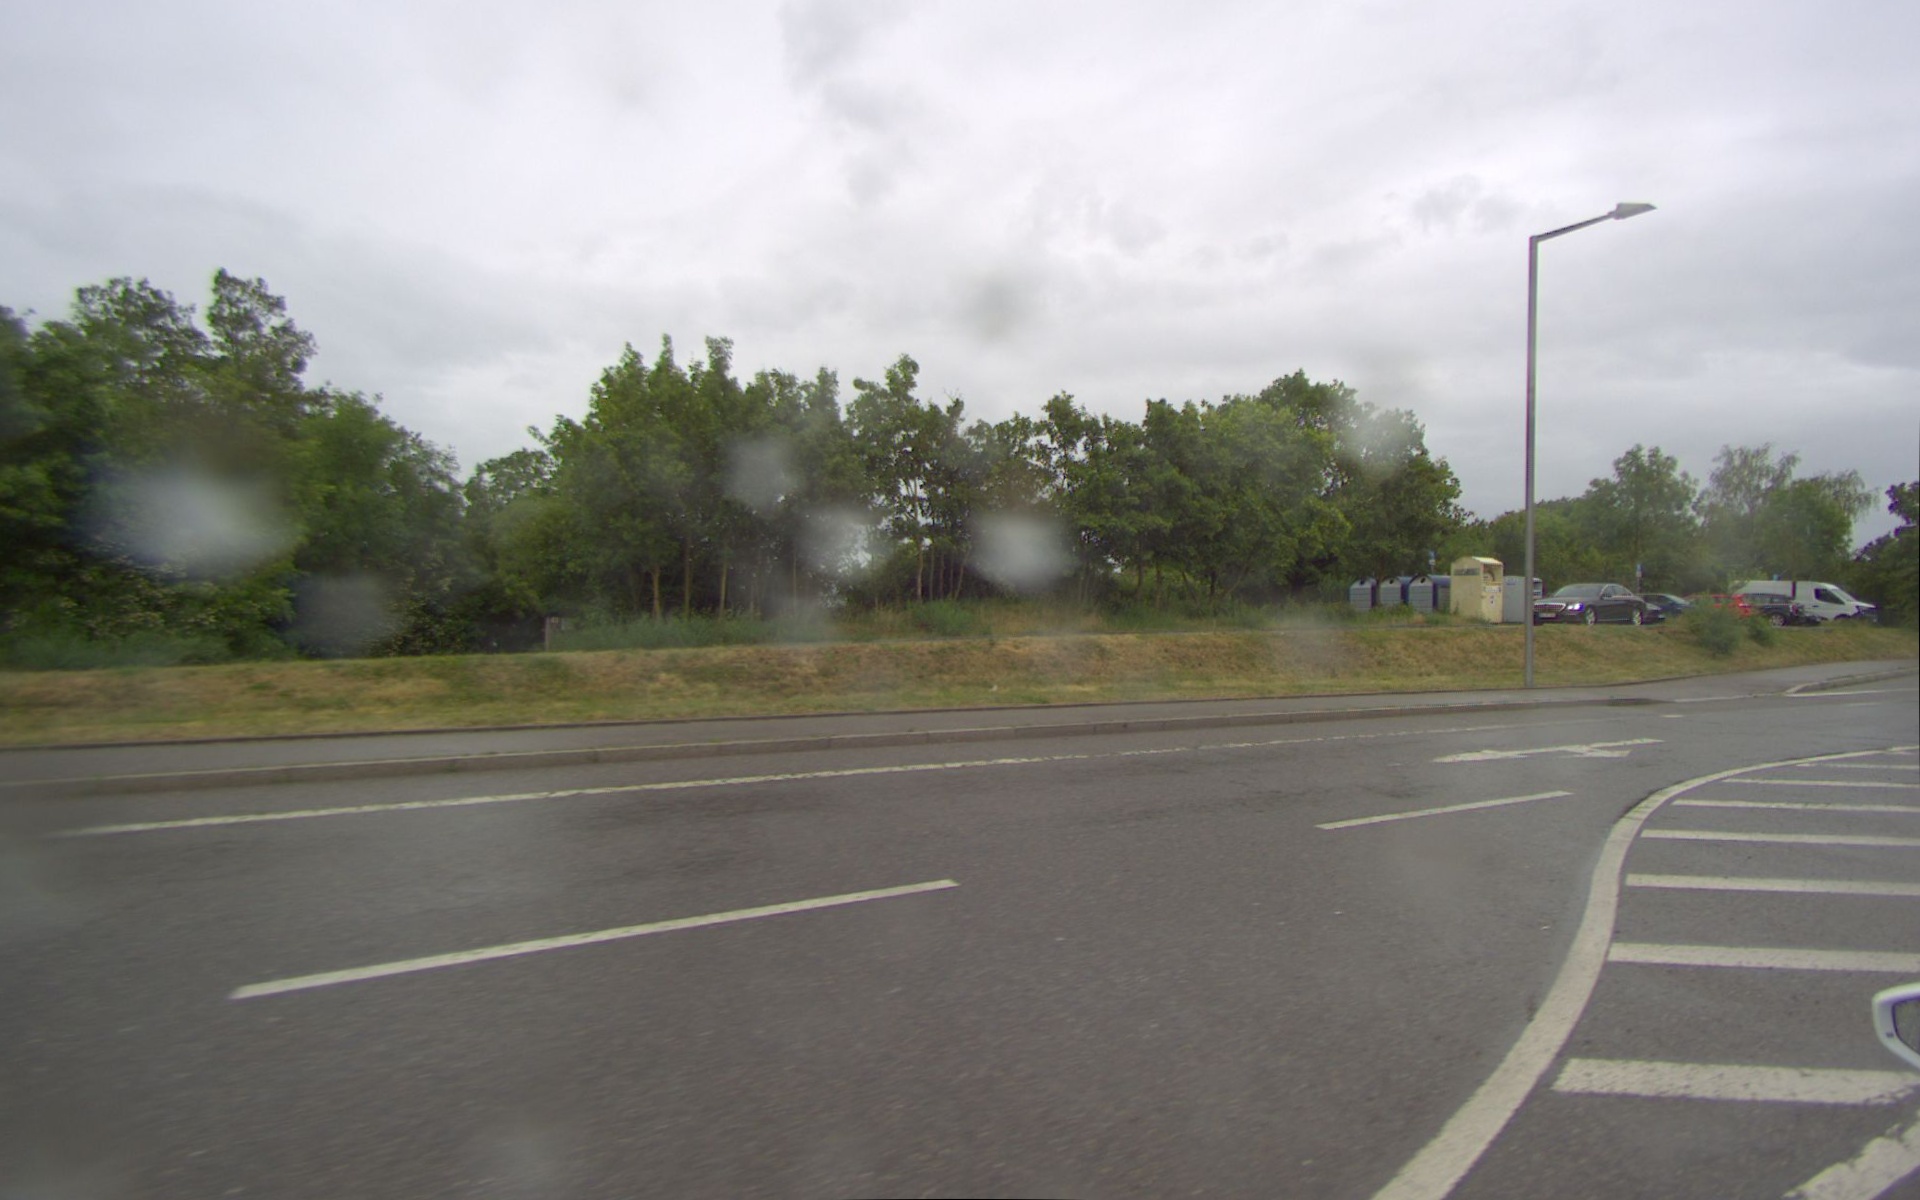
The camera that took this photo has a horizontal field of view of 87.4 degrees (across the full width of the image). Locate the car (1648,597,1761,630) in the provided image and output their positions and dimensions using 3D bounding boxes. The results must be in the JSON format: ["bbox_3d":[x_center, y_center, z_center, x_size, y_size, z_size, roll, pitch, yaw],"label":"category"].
[{"bbox_3d":[35.293,0.624,47.725,1.824,1.488,3.972,1,-1,-27],"label":"car"}]

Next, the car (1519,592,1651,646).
[{"bbox_3d":[20.375,0.576,32.717,4.486,1.590,1.683,-1,3,-30],"label":"car"}]

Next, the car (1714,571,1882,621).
[{"bbox_3d":[44.490,-0.228,53.561,2.115,2.429,6.520,2,0,-31],"label":"car"}]

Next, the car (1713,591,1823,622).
[{"bbox_3d":[40.301,0.313,50.191,1.631,1.382,3.973,1,2,-26],"label":"car"}]

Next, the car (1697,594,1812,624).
[{"bbox_3d":[38.399,0.454,48.642,1.823,1.382,3.974,1,-1,-26],"label":"car"}]

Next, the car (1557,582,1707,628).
[{"bbox_3d":[27.290,0.173,40.971,1.980,1.716,4.687,1,1,-28],"label":"car"}]
